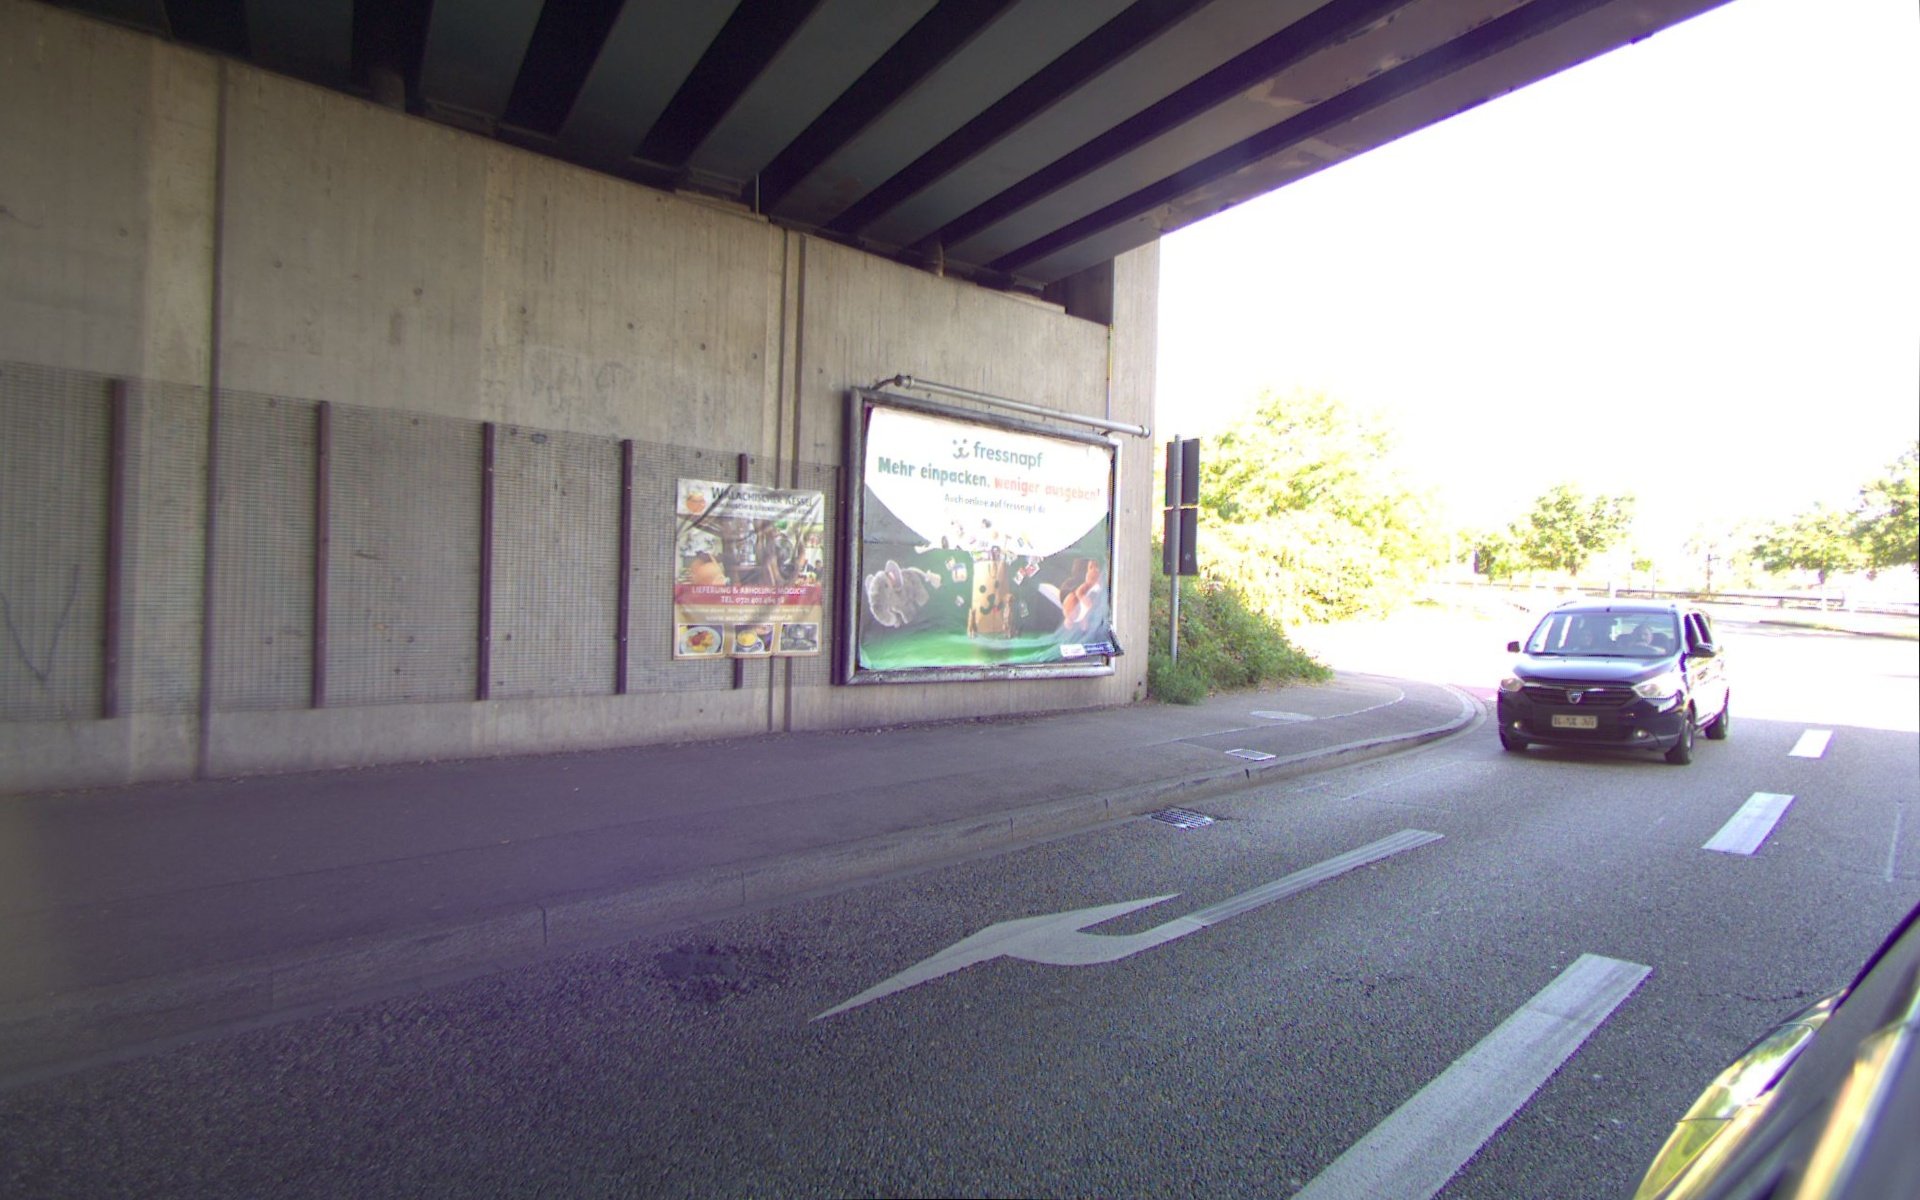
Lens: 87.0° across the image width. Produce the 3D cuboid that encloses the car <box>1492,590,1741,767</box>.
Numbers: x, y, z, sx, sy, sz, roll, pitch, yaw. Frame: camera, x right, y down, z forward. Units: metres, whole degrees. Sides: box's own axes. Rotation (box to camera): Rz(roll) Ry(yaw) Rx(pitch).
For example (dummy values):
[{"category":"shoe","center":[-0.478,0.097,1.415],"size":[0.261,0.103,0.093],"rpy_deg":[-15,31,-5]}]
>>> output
[{"category":"car","center":[7.510,0.705,11.405],"size":[1.773,1.621,4.043],"rpy_deg":[0,0,42]}]
